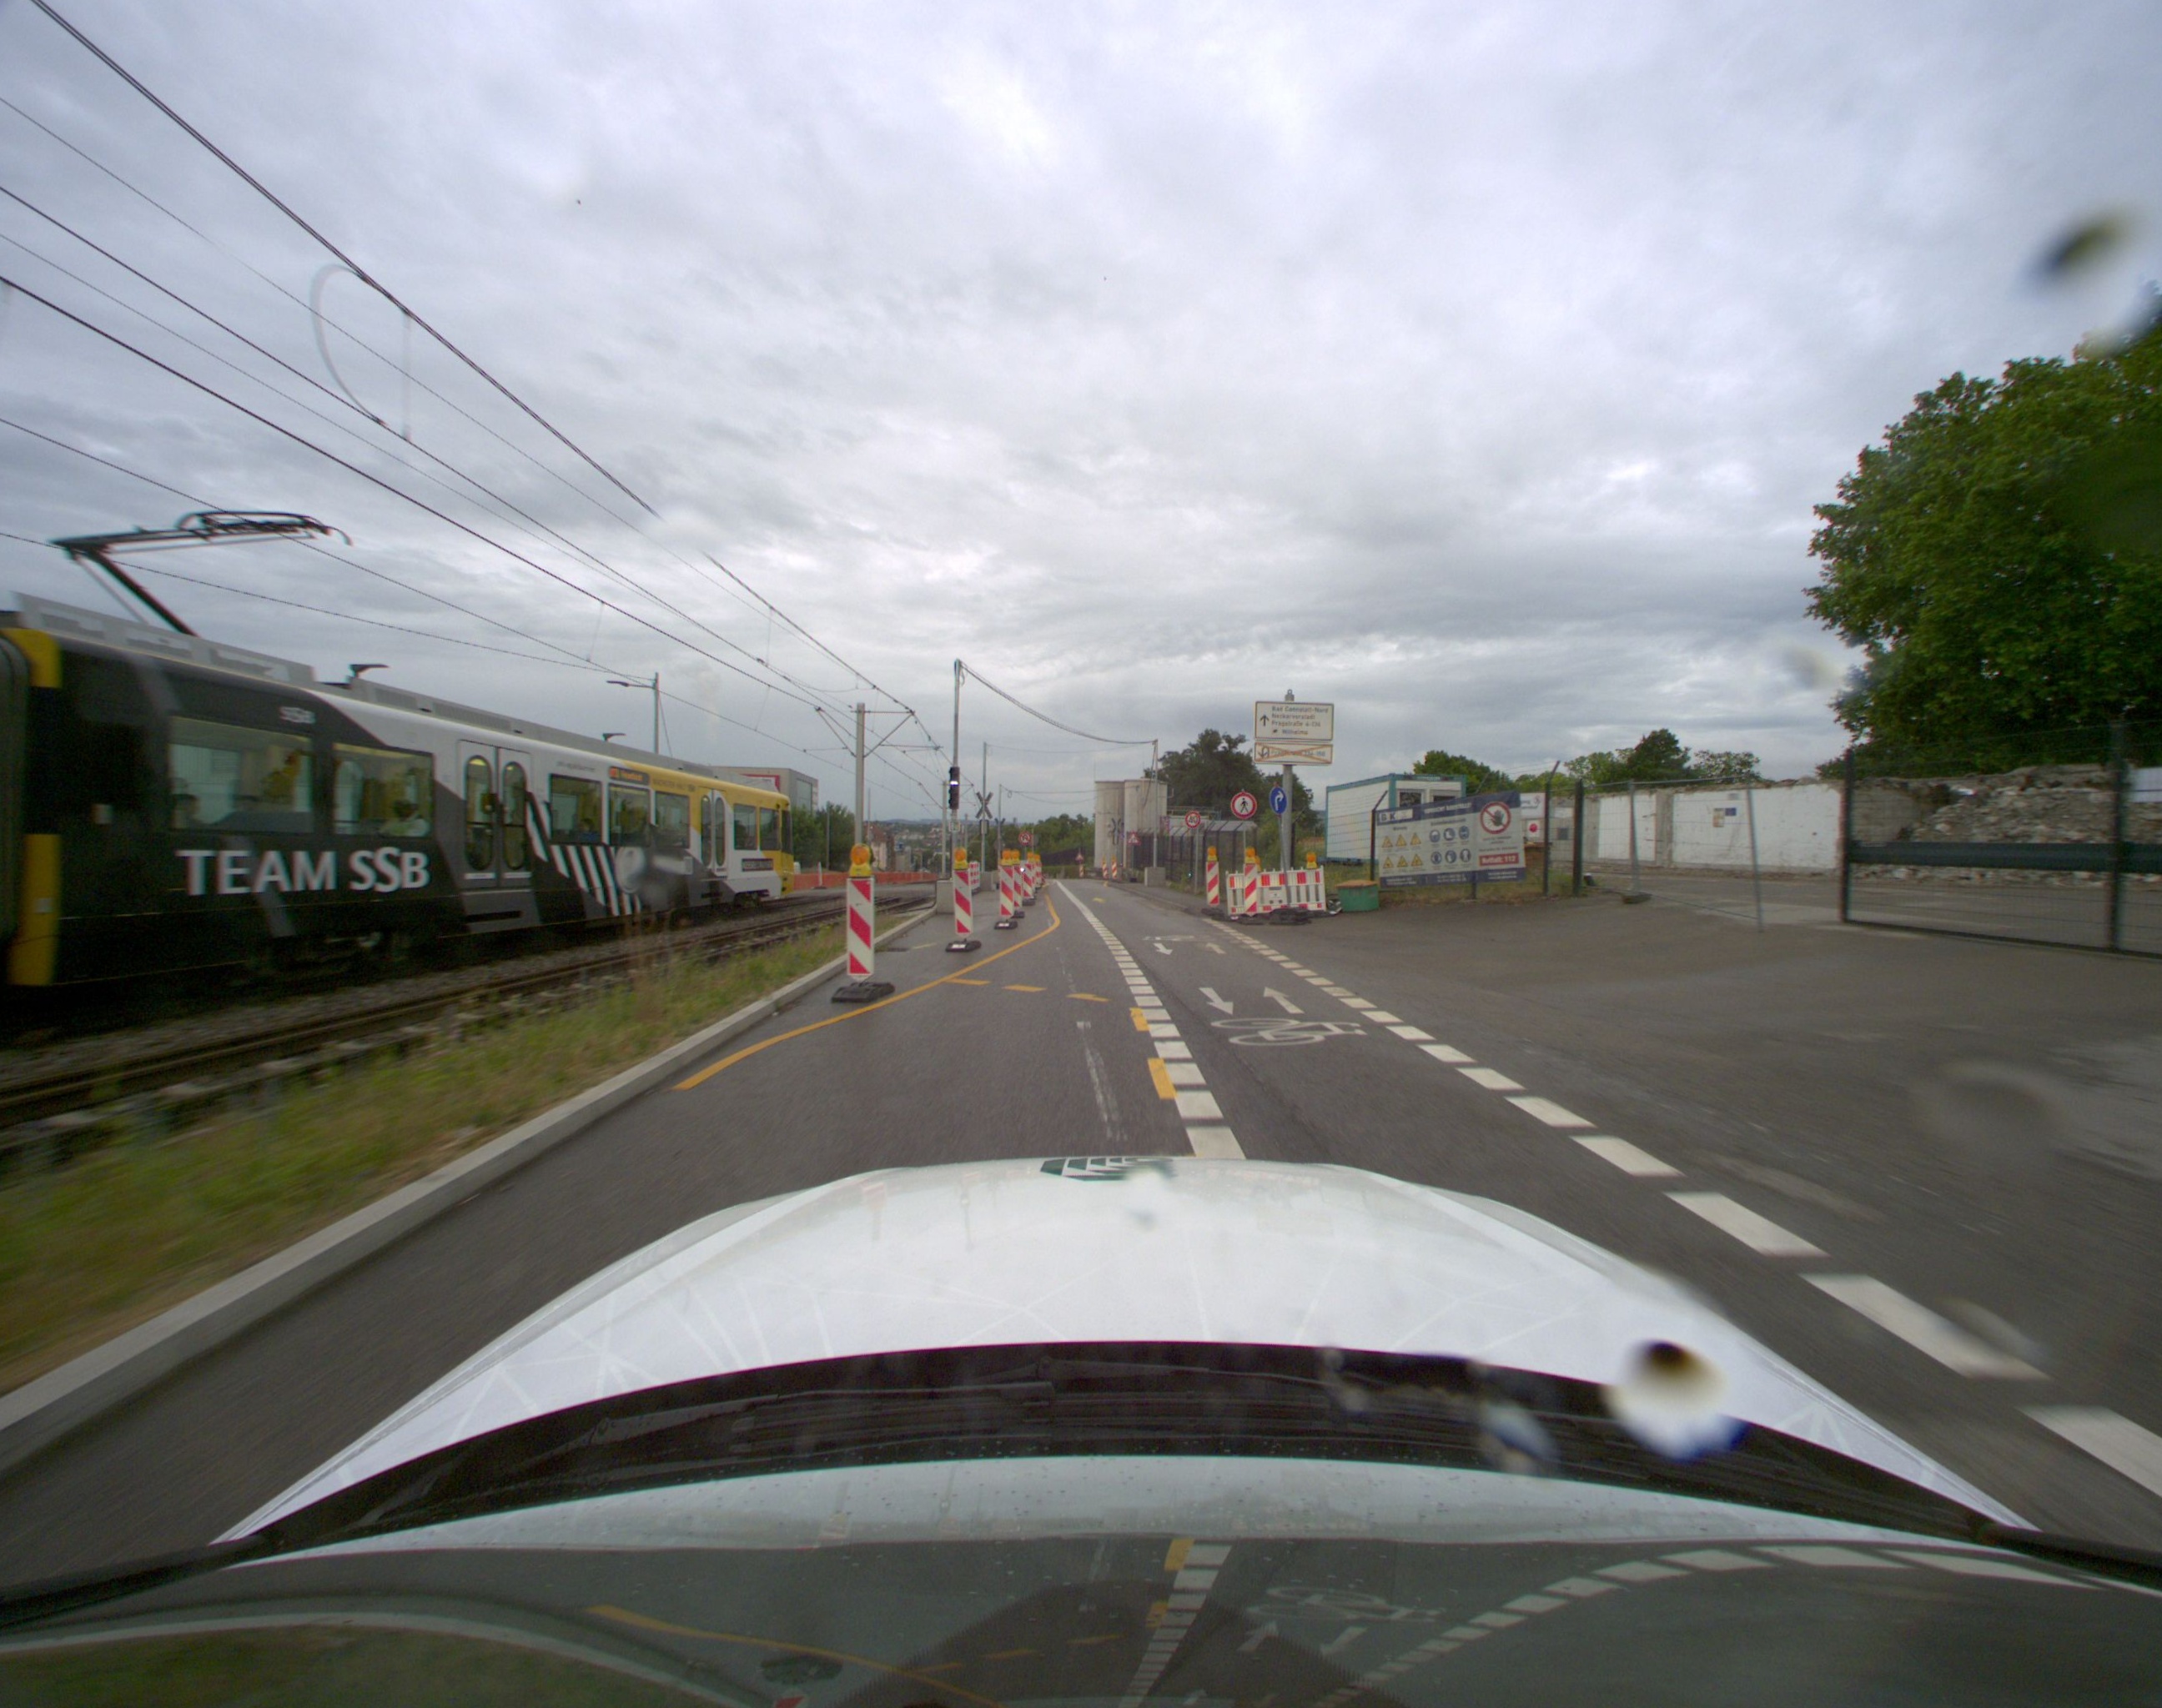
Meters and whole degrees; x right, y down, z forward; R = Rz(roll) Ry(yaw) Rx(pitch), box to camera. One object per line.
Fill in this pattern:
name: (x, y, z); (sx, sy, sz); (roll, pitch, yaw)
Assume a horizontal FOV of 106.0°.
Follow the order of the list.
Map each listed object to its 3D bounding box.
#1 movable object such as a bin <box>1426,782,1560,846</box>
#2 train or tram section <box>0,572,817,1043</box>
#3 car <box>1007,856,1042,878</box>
movable object such as a bin: (40.180, -3.783, 79.766); (11.170, 5.995, 3.498); (0, -1, 7)
train or tram section: (-9.958, -0.422, 16.362); (2.946, 3.886, 19.286); (2, 0, 0)
car: (-4.474, 1.041, 64.041); (1.997, 1.678, 4.466); (0, -1, -15)
